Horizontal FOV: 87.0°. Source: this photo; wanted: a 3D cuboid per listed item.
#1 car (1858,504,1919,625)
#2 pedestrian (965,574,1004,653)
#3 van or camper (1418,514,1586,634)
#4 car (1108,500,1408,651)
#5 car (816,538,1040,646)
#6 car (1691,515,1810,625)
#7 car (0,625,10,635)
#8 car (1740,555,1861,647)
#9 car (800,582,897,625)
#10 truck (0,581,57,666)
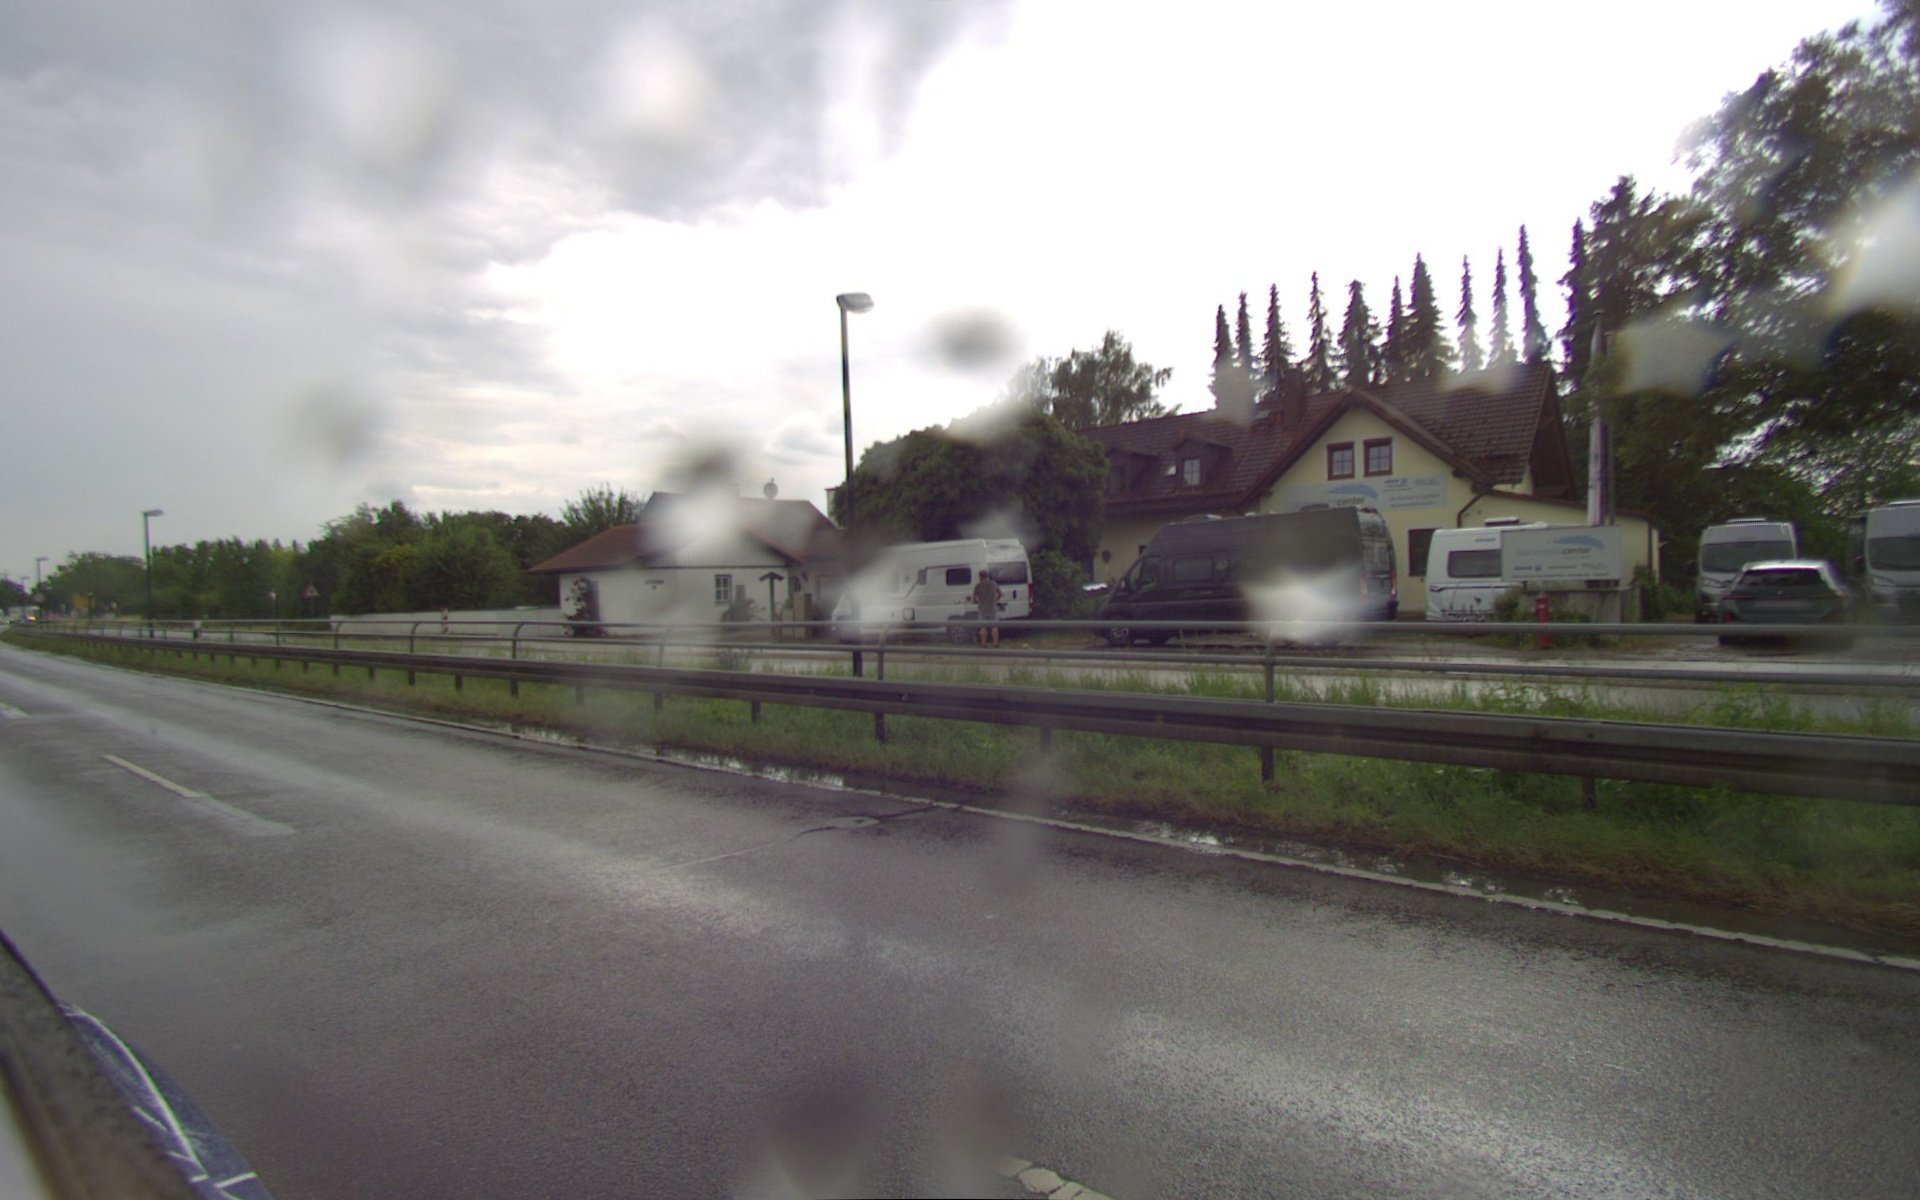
[{"bbox_3d":[22.396,-0.840,23.504,2.090,2.558,6.031,-2,1,40],"label":"car"},{"bbox_3d":[0.542,0.294,22.650,0.509,1.723,0.651,-2,1,-41],"label":"pedestrian"},{"bbox_3d":[13.641,-0.652,25.231,2.559,2.611,6.162,-2,1,39],"label":"van or camper"},{"bbox_3d":[6.182,-0.433,21.396,5.566,2.783,2.360,-2,1,39],"label":"car"},{"bbox_3d":[-0.987,-0.167,27.053,6.016,2.600,2.214,-1,1,41],"label":"car"},{"bbox_3d":[19.921,-0.730,25.393,2.090,2.435,6.031,-2,1,40],"label":"car"},{"bbox_3d":[-175.160,5.408,184.972,4.025,1.746,1.788,-1,1,42],"label":"car"},{"bbox_3d":[15.491,-0.036,18.586,1.540,1.507,3.843,-2,1,42],"label":"car"},{"bbox_3d":[-3.797,0.136,34.248,3.269,1.366,1.433,-1,1,42],"label":"car"},{"bbox_3d":[-60.571,1.495,64.790,7.782,5.071,3.214,-1,1,42],"label":"truck"}]
